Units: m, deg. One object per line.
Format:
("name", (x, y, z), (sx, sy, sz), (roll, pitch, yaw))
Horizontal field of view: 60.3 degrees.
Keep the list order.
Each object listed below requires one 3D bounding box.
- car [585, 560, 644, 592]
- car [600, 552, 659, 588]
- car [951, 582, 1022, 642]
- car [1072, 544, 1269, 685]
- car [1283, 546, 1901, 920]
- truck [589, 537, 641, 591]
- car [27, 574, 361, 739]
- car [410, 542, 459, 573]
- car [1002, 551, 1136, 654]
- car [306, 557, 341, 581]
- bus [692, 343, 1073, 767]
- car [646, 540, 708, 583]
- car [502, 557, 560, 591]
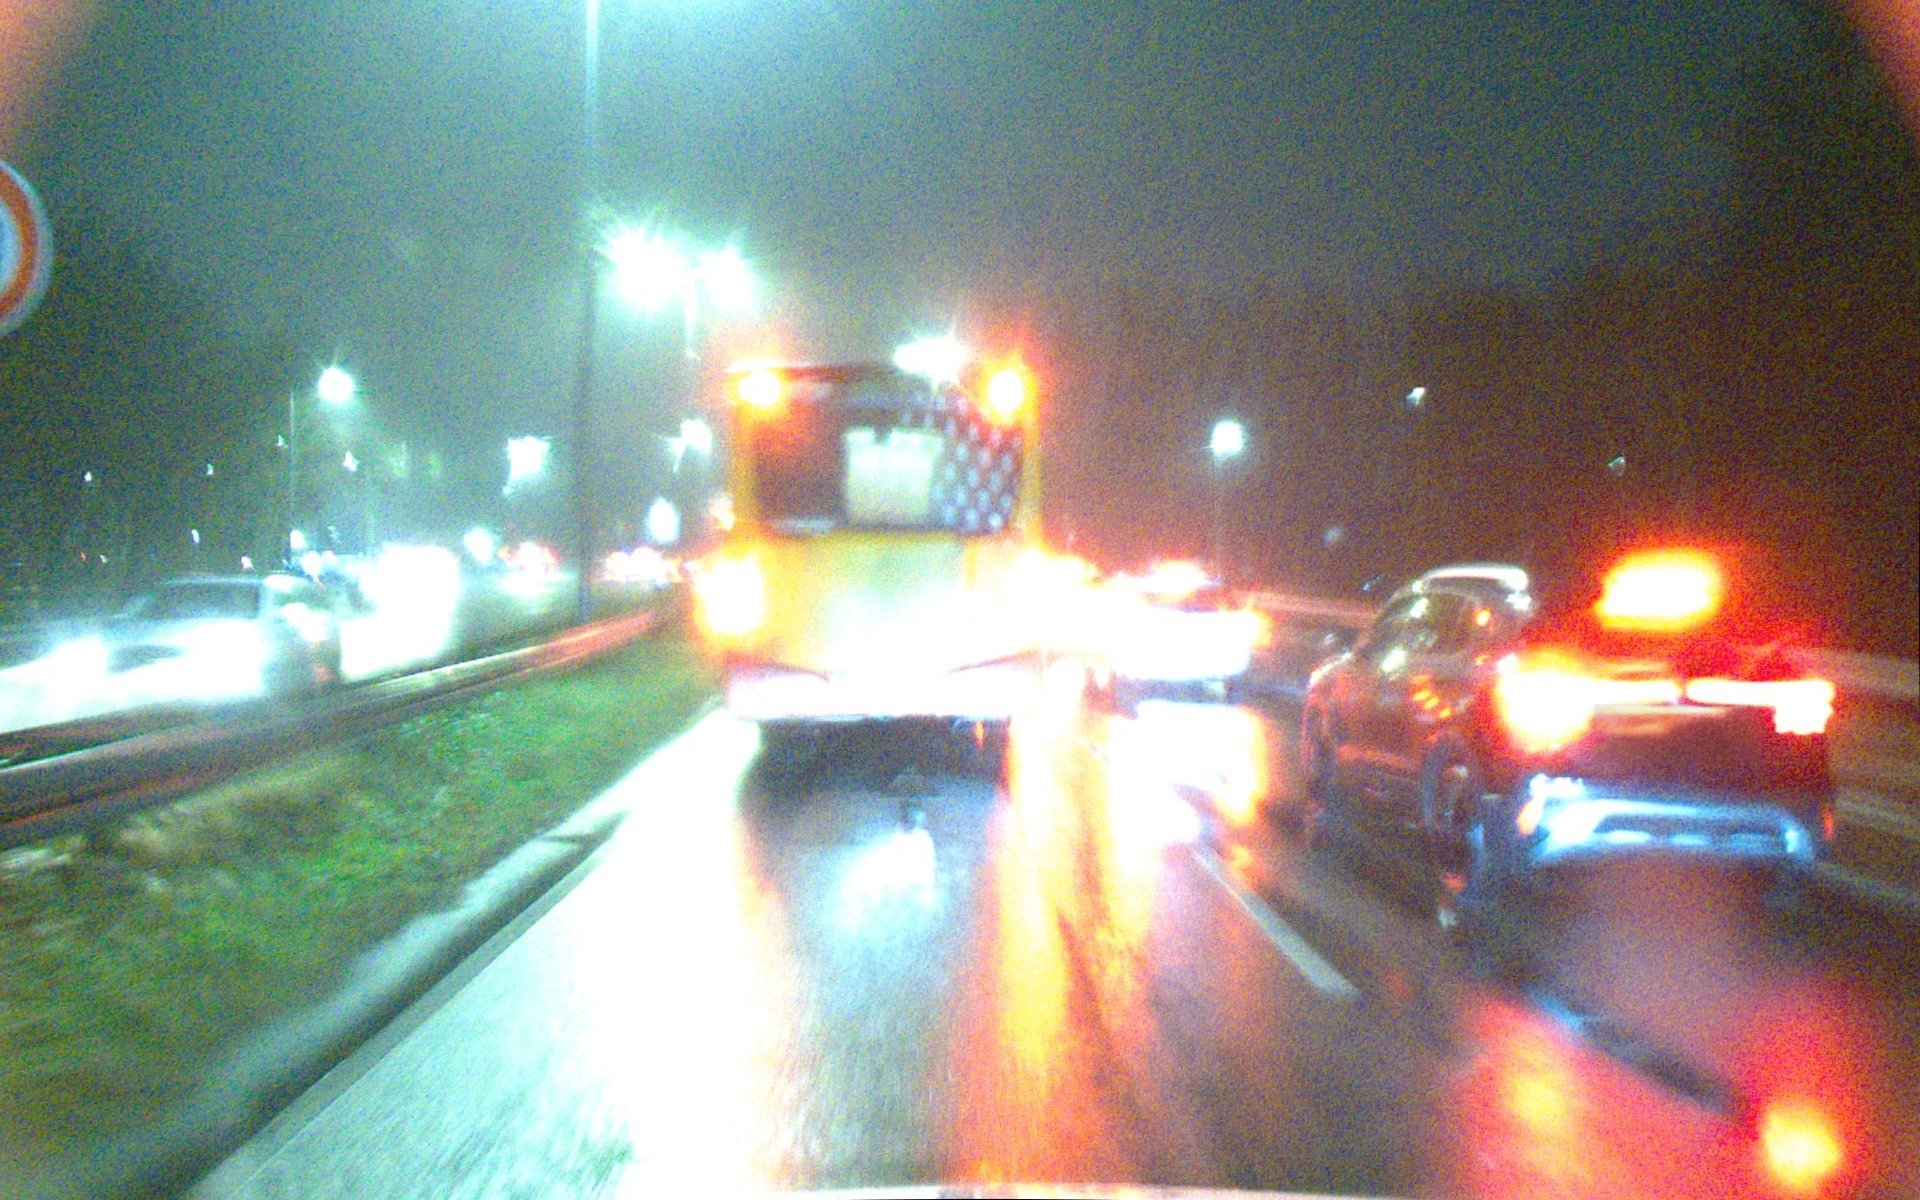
("car", (-18.856, -1.337, 90.067), (1.739, 1.659, 3.574), (1, 0, -38))
("car", (-19.094, -1.721, 95.414), (1.977, 2.048, 3.952), (-1, 1, -35))
("car", (0.704, 0.302, 46.569), (1.744, 1.570, 3.873), (1, 1, -3))
("car", (2.567, 0.128, 21.012), (1.784, 1.618, 3.774), (0, 1, -4))
("car", (3.104, 0.550, 9.019), (1.705, 1.592, 3.774), (1, 1, -4))
("truck", (-17.233, -1.835, 82.390), (1.829, 2.434, 4.752), (-2, 4, -20))
("car", (-8.041, 0.496, 17.868), (1.781, 1.418, 4.457), (-4, 1, -5))
("car", (-36.124, -2.893, 113.672), (1.979, 2.049, 3.947), (1, 0, -37))
("car", (1.781, 0.009, 28.173), (1.784, 1.618, 3.774), (0, 1, -4))
("car", (-50.221, -2.437, 130.612), (1.959, 1.715, 3.988), (3, 2, -13))
("bus", (-0.747, -0.398, 16.508), (2.759, 3.076, 8.683), (1, 1, -3))
("car", (-14.120, -1.890, 82.298), (1.970, 2.049, 3.966), (1, 0, -27))
("car", (-26.106, -1.572, 100.647), (2.193, 2.049, 3.951), (-1, 1, -35))
